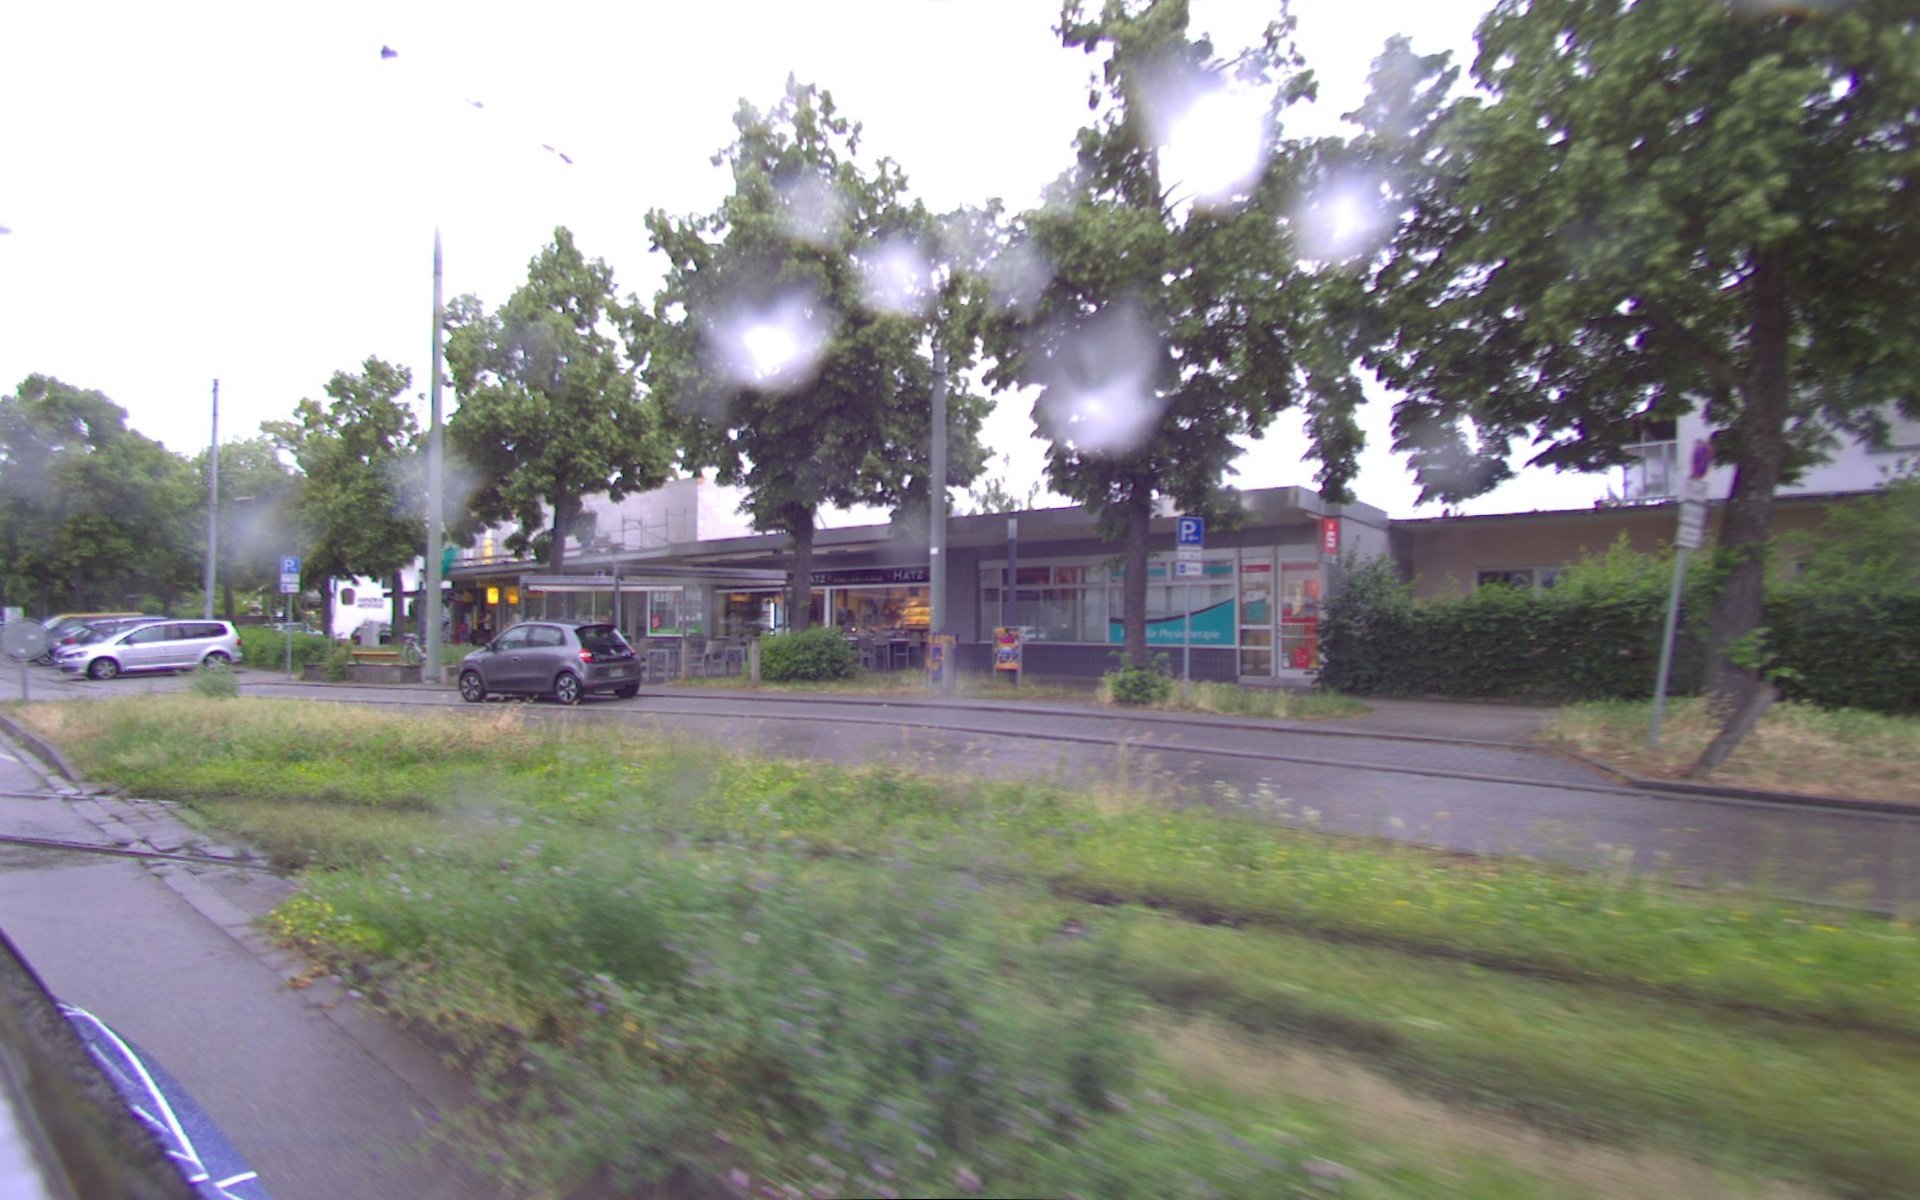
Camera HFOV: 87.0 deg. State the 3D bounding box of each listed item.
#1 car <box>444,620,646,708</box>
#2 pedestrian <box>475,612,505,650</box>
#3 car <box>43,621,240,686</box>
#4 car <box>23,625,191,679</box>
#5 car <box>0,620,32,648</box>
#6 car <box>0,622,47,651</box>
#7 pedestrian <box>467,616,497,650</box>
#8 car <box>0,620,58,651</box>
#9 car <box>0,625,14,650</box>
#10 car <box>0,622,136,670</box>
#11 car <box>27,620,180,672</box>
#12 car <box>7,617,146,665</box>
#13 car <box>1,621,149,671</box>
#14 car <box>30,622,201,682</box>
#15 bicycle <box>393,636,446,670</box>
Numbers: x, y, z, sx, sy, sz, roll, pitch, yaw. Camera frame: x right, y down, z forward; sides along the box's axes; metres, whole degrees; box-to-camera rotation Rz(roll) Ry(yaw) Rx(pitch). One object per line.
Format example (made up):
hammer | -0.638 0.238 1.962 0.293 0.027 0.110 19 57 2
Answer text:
car | -7.959 1.186 19.397 3.602 1.515 1.539 -1 0 25
pedestrian | -21.736 1.413 46.830 1.063 1.727 0.950 1 -1 -37
car | -24.210 1.518 30.038 1.999 1.686 4.279 -2 -1 41
car | -28.352 1.683 33.738 1.999 1.583 4.036 -2 -1 41
car | -70.158 2.505 73.059 1.898 1.958 4.487 -2 -1 41
car | -66.137 2.544 69.821 1.898 1.958 4.487 -2 -1 41
pedestrian | -22.494 1.551 47.648 1.063 1.596 0.950 1 -1 -37
car | -62.662 2.322 66.818 1.898 1.958 4.487 -2 -1 41
car | -77.833 2.999 79.893 1.898 1.958 4.487 -2 -1 41
car | -37.772 1.899 42.803 1.898 1.823 4.247 -2 -1 41
car | -31.277 1.643 37.034 1.898 1.722 4.036 -2 -1 41
car | -39.499 1.778 45.352 1.898 1.958 4.487 -2 -1 41
car | -33.599 1.696 38.490 1.898 1.722 4.036 -2 -1 41
car | -26.336 1.567 31.651 1.793 1.686 3.894 -2 -1 41
bicycle | -17.609 1.730 32.944 1.740 1.080 0.589 -1 -3 25
